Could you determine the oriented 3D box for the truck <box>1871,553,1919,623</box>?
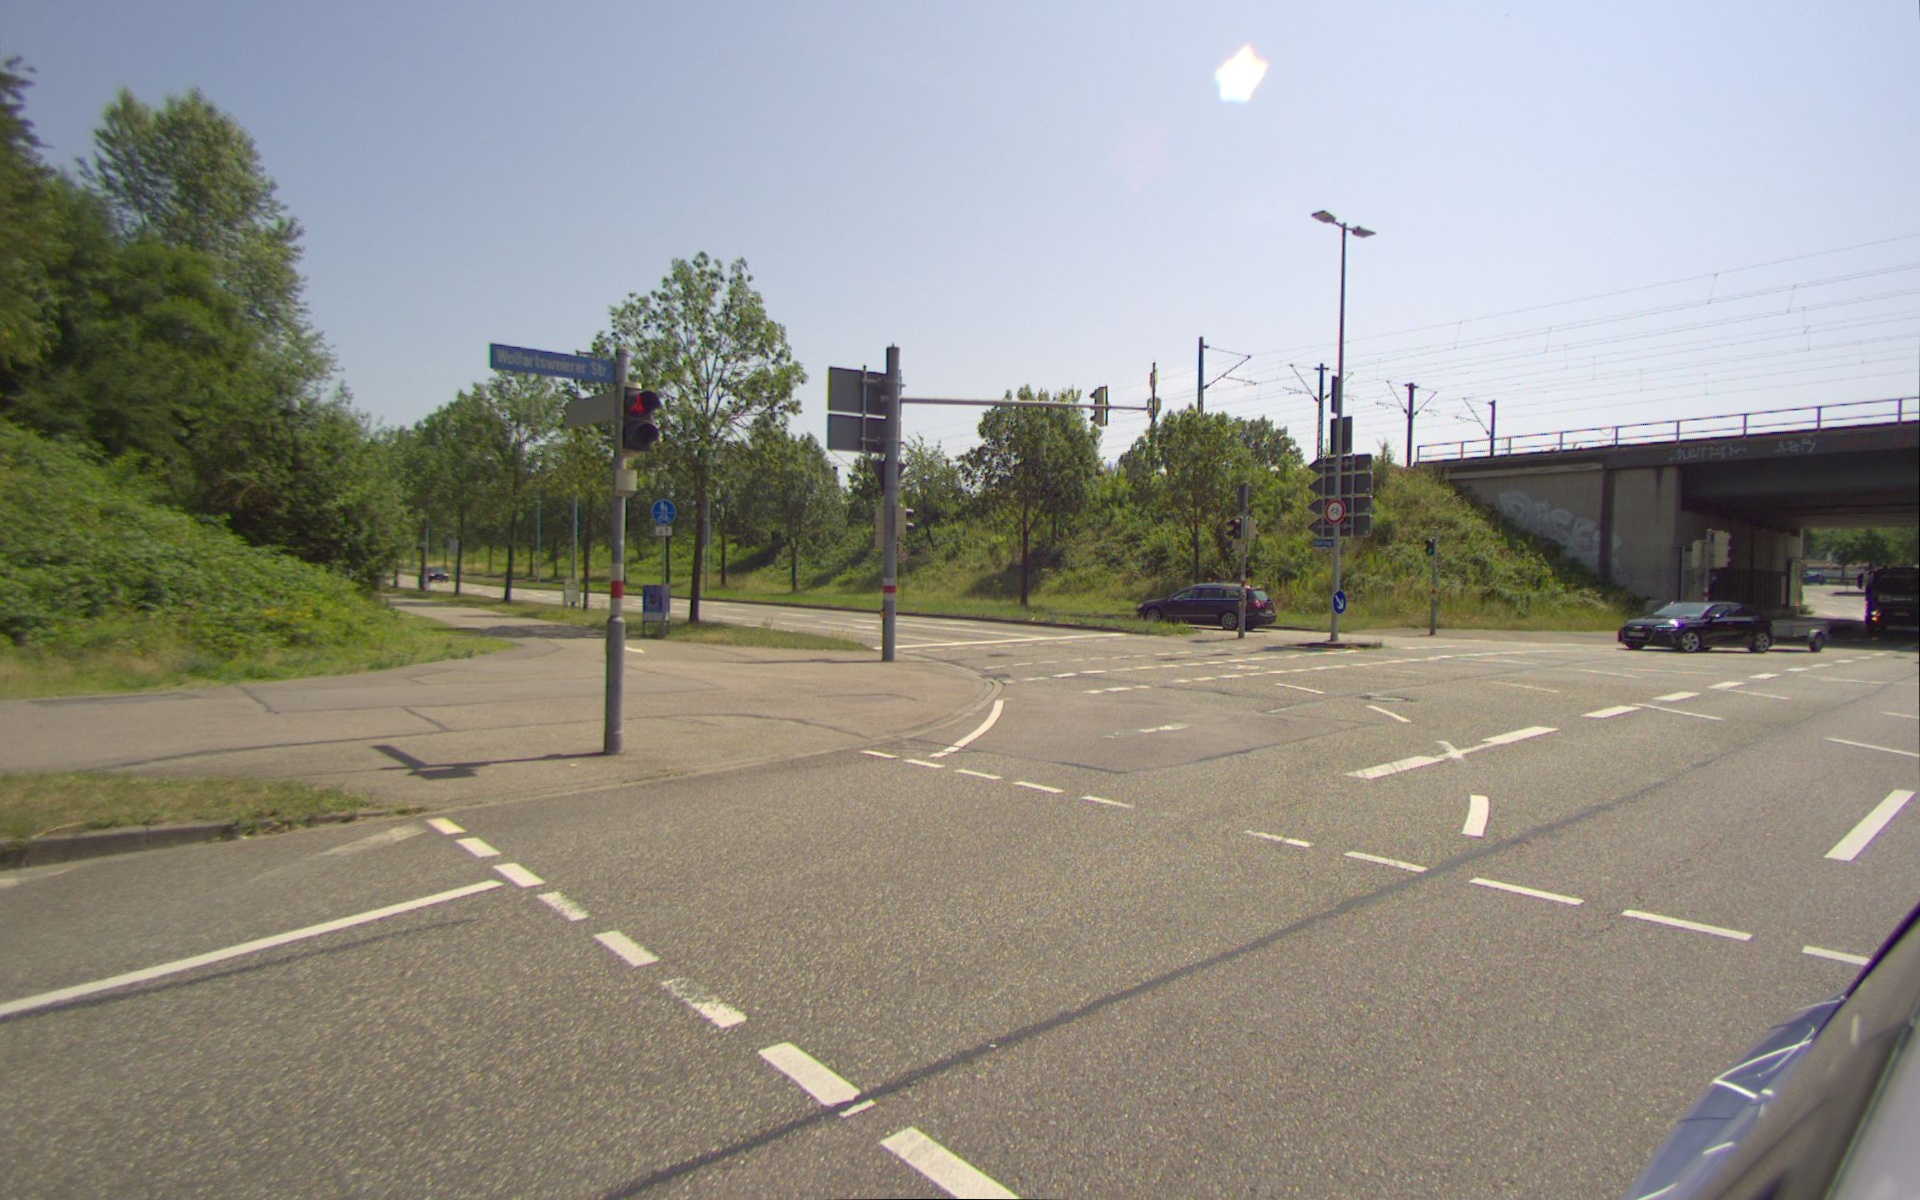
[{"bbox_3d":[43.255,-0.531,45.805,2.876,2.952,8.388,1,1,41],"label":"truck"}]

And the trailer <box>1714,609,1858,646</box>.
[{"bbox_3d":[23.798,0.776,29.167,3.753,0.954,1.685,1,1,-24],"label":"trailer"}]

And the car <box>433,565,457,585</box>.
[{"bbox_3d":[-56.345,-2.738,110.616,1.961,2.038,4.003,0,1,-33],"label":"car"}]

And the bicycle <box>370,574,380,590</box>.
[{"bbox_3d":[-34.875,-1.073,60.310,0.432,0.895,1.454,0,1,-34],"label":"bicycle"}]

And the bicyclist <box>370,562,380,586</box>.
[{"bbox_3d":[-34.934,-1.554,60.392,0.475,1.451,0.491,0,1,-34],"label":"bicyclist"}]

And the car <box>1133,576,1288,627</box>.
[{"bbox_3d":[8.210,0.003,33.399,4.651,1.521,1.784,2,2,39],"label":"car"}]

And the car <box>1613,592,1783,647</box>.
[{"bbox_3d":[20.303,0.530,27.892,3.821,1.407,1.814,1,1,-17],"label":"car"}]
